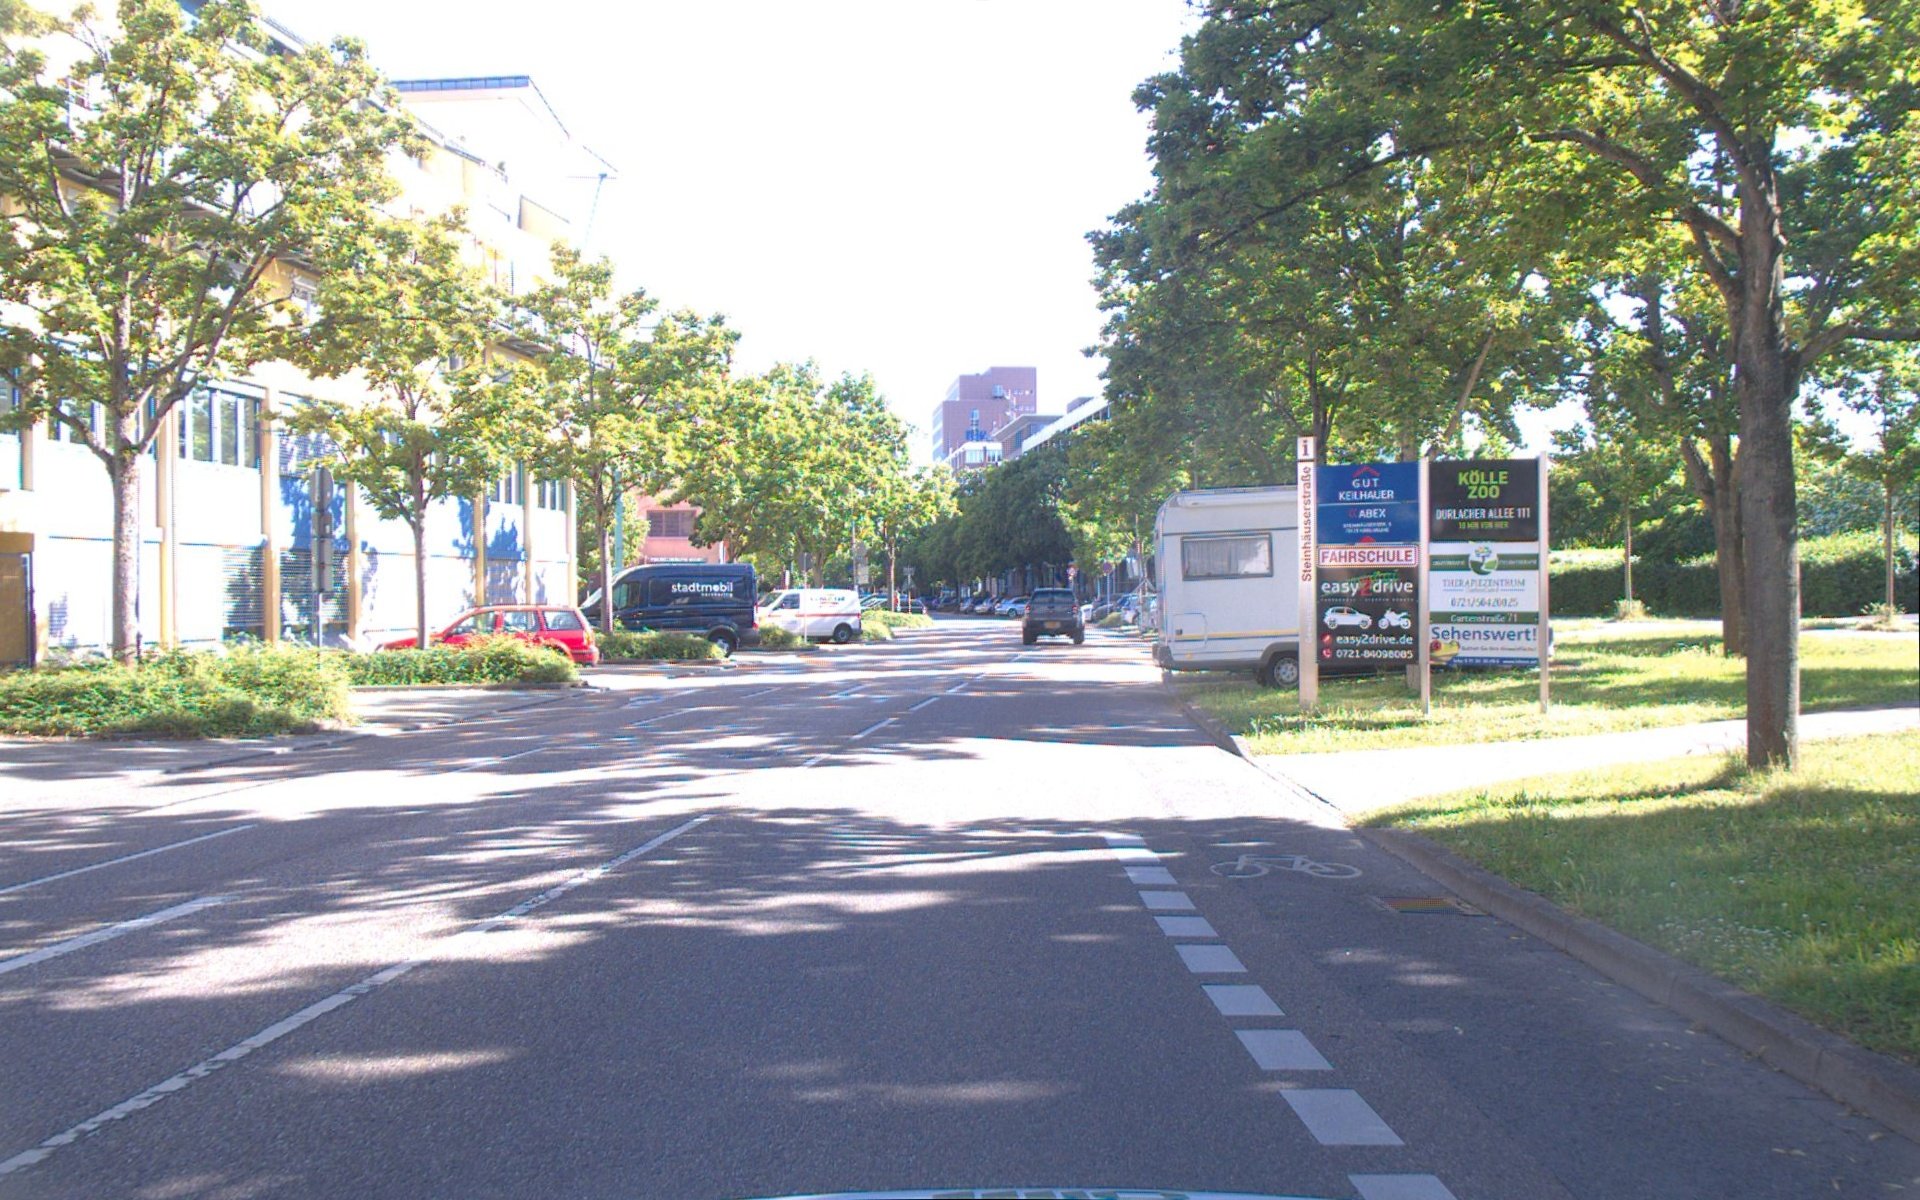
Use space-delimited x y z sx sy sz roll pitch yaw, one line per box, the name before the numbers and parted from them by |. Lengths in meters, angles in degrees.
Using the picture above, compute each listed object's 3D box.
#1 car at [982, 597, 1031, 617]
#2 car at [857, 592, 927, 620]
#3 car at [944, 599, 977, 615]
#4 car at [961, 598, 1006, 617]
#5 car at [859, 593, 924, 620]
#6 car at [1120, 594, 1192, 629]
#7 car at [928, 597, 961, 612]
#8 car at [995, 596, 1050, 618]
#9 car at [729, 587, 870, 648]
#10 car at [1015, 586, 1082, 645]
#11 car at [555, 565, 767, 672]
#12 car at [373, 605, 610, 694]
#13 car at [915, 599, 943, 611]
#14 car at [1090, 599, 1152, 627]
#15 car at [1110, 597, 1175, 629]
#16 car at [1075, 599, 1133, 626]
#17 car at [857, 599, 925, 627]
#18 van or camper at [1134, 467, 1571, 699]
car | 3.871 0.549 137.628 3.869 1.421 1.515 -3 0 -4
car | -3.853 0.332 93.436 3.807 1.389 1.409 -3 0 -4
car | 0.022 0.666 166.317 3.151 1.434 1.262 -3 0 -4
car | 2.058 0.669 146.634 3.869 1.421 1.515 -3 0 -4
car | -4.080 0.405 98.494 3.807 1.389 1.409 -3 0 -4
car | 9.098 0.531 77.056 3.176 1.421 1.517 -3 0 4
car | -1.590 0.460 168.771 3.214 1.421 1.515 -3 0 -4
car | 4.632 0.532 122.645 3.869 1.421 1.515 -3 0 -4
car | -5.941 0.626 61.391 4.832 2.119 1.966 -1 0 -30
car | 3.043 0.477 56.007 2.088 1.867 4.943 -1 0 4
car | -7.819 0.450 43.298 5.184 2.590 1.974 -1 0 -21
car | -9.238 0.938 32.608 4.342 1.579 1.910 -1 0 -20
car | -3.637 0.571 191.696 3.151 1.249 1.262 -3 0 -4
car | 8.538 0.676 88.098 3.176 1.299 1.517 -3 0 4
car | 9.384 0.667 85.056 3.176 1.421 1.517 -3 0 4
car | 8.025 0.677 92.347 3.176 1.299 1.517 -3 0 4
car | -3.984 0.734 95.204 3.807 1.389 1.409 -3 0 -4
van or camper | 5.717 -0.228 24.938 5.951 2.979 2.577 -3 0 4
